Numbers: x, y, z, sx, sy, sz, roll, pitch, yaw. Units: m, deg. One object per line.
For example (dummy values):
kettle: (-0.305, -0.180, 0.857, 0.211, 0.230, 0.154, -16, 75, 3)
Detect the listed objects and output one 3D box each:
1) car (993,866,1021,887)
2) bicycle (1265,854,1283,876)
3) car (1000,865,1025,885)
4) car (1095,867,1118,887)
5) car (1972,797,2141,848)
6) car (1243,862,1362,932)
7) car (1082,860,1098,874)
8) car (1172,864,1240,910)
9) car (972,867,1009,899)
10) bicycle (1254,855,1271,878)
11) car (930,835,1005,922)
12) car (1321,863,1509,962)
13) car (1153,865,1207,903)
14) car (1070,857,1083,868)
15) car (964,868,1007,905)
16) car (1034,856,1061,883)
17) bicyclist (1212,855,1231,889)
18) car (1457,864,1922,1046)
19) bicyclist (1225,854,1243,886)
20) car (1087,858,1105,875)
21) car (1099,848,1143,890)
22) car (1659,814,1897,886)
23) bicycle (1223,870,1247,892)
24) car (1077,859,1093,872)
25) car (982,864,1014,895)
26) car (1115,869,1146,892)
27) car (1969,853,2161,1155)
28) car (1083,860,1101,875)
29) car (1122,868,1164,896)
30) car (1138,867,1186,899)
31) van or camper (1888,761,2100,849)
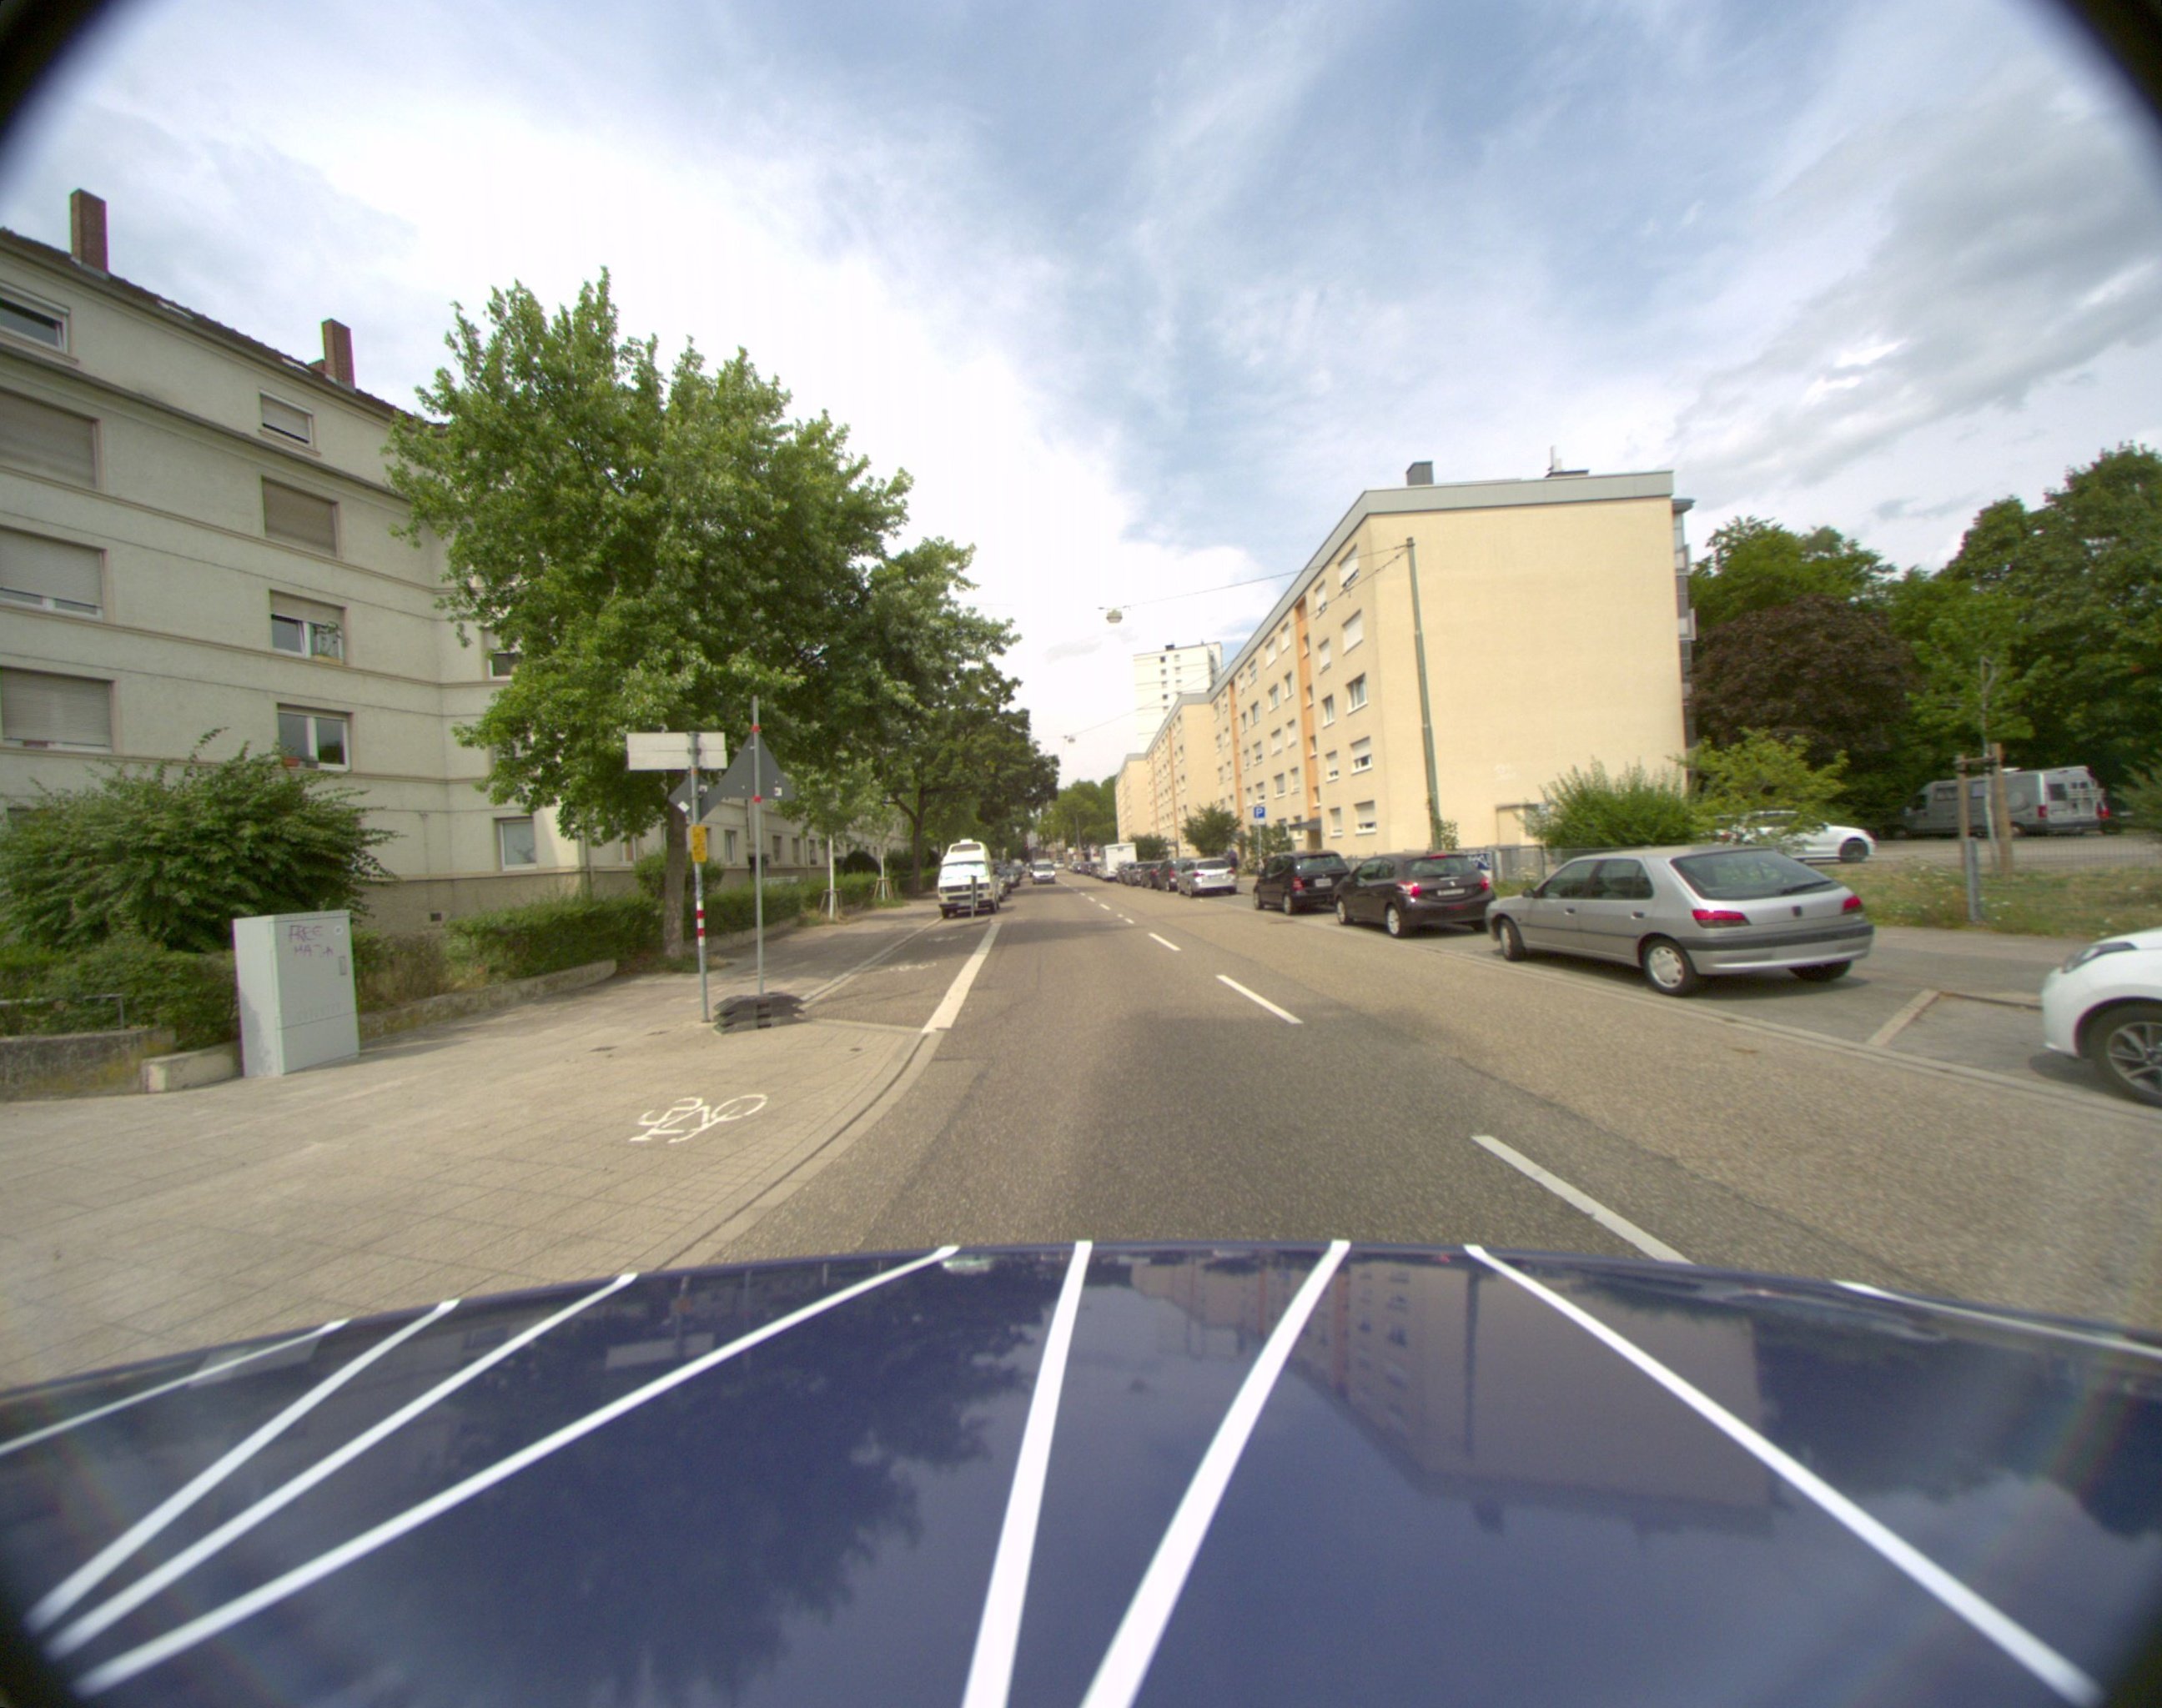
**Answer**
car: (-5.344, 1.610, 55.291, 1.676, 1.392, 3.785, -2, 0, -2)
bicycle: (10.984, 0.605, 43.244, 0.534, 1.200, 2.018, -5, 0, 4)
car: (-5.397, 1.656, 60.260, 1.676, 1.445, 3.785, -2, 0, -2)
car: (2.401, 2.161, 72.306, 1.853, 1.623, 4.217, -2, 0, -3)
car: (36.747, -1.128, 28.785, 1.624, 1.703, 3.726, -3, 0, 2)
car: (5.691, 1.038, 20.073, 1.626, 1.565, 3.998, -4, 0, -4)
car: (1.136, 1.601, 93.940, 1.666, 1.547, 3.894, -2, 0, -3)
car: (4.968, 1.290, 30.836, 1.791, 1.554, 4.551, -6, -1, -1)
car: (-4.727, 1.498, 40.088, 1.676, 1.445, 3.784, -6, 0, -5)
bicycle: (10.337, 0.684, 43.319, 0.534, 1.200, 2.018, -6, 0, 4)
car: (-3.867, 0.772, 26.707, 1.900, 2.587, 4.903, -6, 0, -3)
car: (6.121, 0.990, 14.496, 1.691, 1.461, 4.048, -4, 0, 0)
car: (4.695, 1.404, 36.606, 1.722, 1.615, 3.838, -4, 0, -5)
car: (-0.784, 1.380, 123.103, 1.806, 1.624, 3.894, -2, 0, -3)
car: (-4.329, 1.440, 35.005, 1.676, 1.442, 4.642, -5, 0, -5)
car: (-2.675, 1.202, 60.374, 1.999, 2.002, 3.999, -2, 0, -3)
bicyclist: (6.719, 0.860, 36.411, 0.616, 1.598, 0.765, -5, 1, -3)
car: (6.308, 0.895, 8.672, 1.692, 1.448, 4.263, -4, -1, -2)
bicyclist: (7.794, 0.815, 38.819, 0.616, 1.598, 0.765, -5, 1, -3)
car: (1.632, 1.400, 84.296, 1.724, 1.787, 3.894, -2, 0, -3)
car: (3.047, 1.163, 60.270, 2.622, 3.039, 7.113, -2, -1, -3)
car: (17.488, -0.097, 19.259, 3.995, 1.474, 2.001, -4, 1, 5)
bicycle: (7.856, 1.372, 38.790, 0.625, 0.996, 2.081, -5, 0, -3)
car: (0.541, 1.580, 102.165, 1.806, 1.624, 3.894, -2, 0, -3)
car: (-4.896, 1.479, 45.244, 1.677, 1.666, 4.270, -2, 0, -5)
car: (3.457, 1.842, 53.628, 1.617, 1.475, 4.057, -2, 0, -4)
car: (6.586, 0.762, 2.963, 1.658, 1.520, 3.764, -5, -1, -3)
car: (1.278, 1.539, 89.646, 1.731, 1.608, 3.894, -2, 0, -3)
car: (3.844, 1.713, 47.829, 1.722, 1.498, 4.623, -3, 0, -5)
car: (4.365, 1.547, 41.388, 1.681, 1.495, 4.262, -5, 0, -5)
van or camper: (34.270, -1.710, 28.810, 1.998, 2.855, 4.902, -4, 0, 0)
